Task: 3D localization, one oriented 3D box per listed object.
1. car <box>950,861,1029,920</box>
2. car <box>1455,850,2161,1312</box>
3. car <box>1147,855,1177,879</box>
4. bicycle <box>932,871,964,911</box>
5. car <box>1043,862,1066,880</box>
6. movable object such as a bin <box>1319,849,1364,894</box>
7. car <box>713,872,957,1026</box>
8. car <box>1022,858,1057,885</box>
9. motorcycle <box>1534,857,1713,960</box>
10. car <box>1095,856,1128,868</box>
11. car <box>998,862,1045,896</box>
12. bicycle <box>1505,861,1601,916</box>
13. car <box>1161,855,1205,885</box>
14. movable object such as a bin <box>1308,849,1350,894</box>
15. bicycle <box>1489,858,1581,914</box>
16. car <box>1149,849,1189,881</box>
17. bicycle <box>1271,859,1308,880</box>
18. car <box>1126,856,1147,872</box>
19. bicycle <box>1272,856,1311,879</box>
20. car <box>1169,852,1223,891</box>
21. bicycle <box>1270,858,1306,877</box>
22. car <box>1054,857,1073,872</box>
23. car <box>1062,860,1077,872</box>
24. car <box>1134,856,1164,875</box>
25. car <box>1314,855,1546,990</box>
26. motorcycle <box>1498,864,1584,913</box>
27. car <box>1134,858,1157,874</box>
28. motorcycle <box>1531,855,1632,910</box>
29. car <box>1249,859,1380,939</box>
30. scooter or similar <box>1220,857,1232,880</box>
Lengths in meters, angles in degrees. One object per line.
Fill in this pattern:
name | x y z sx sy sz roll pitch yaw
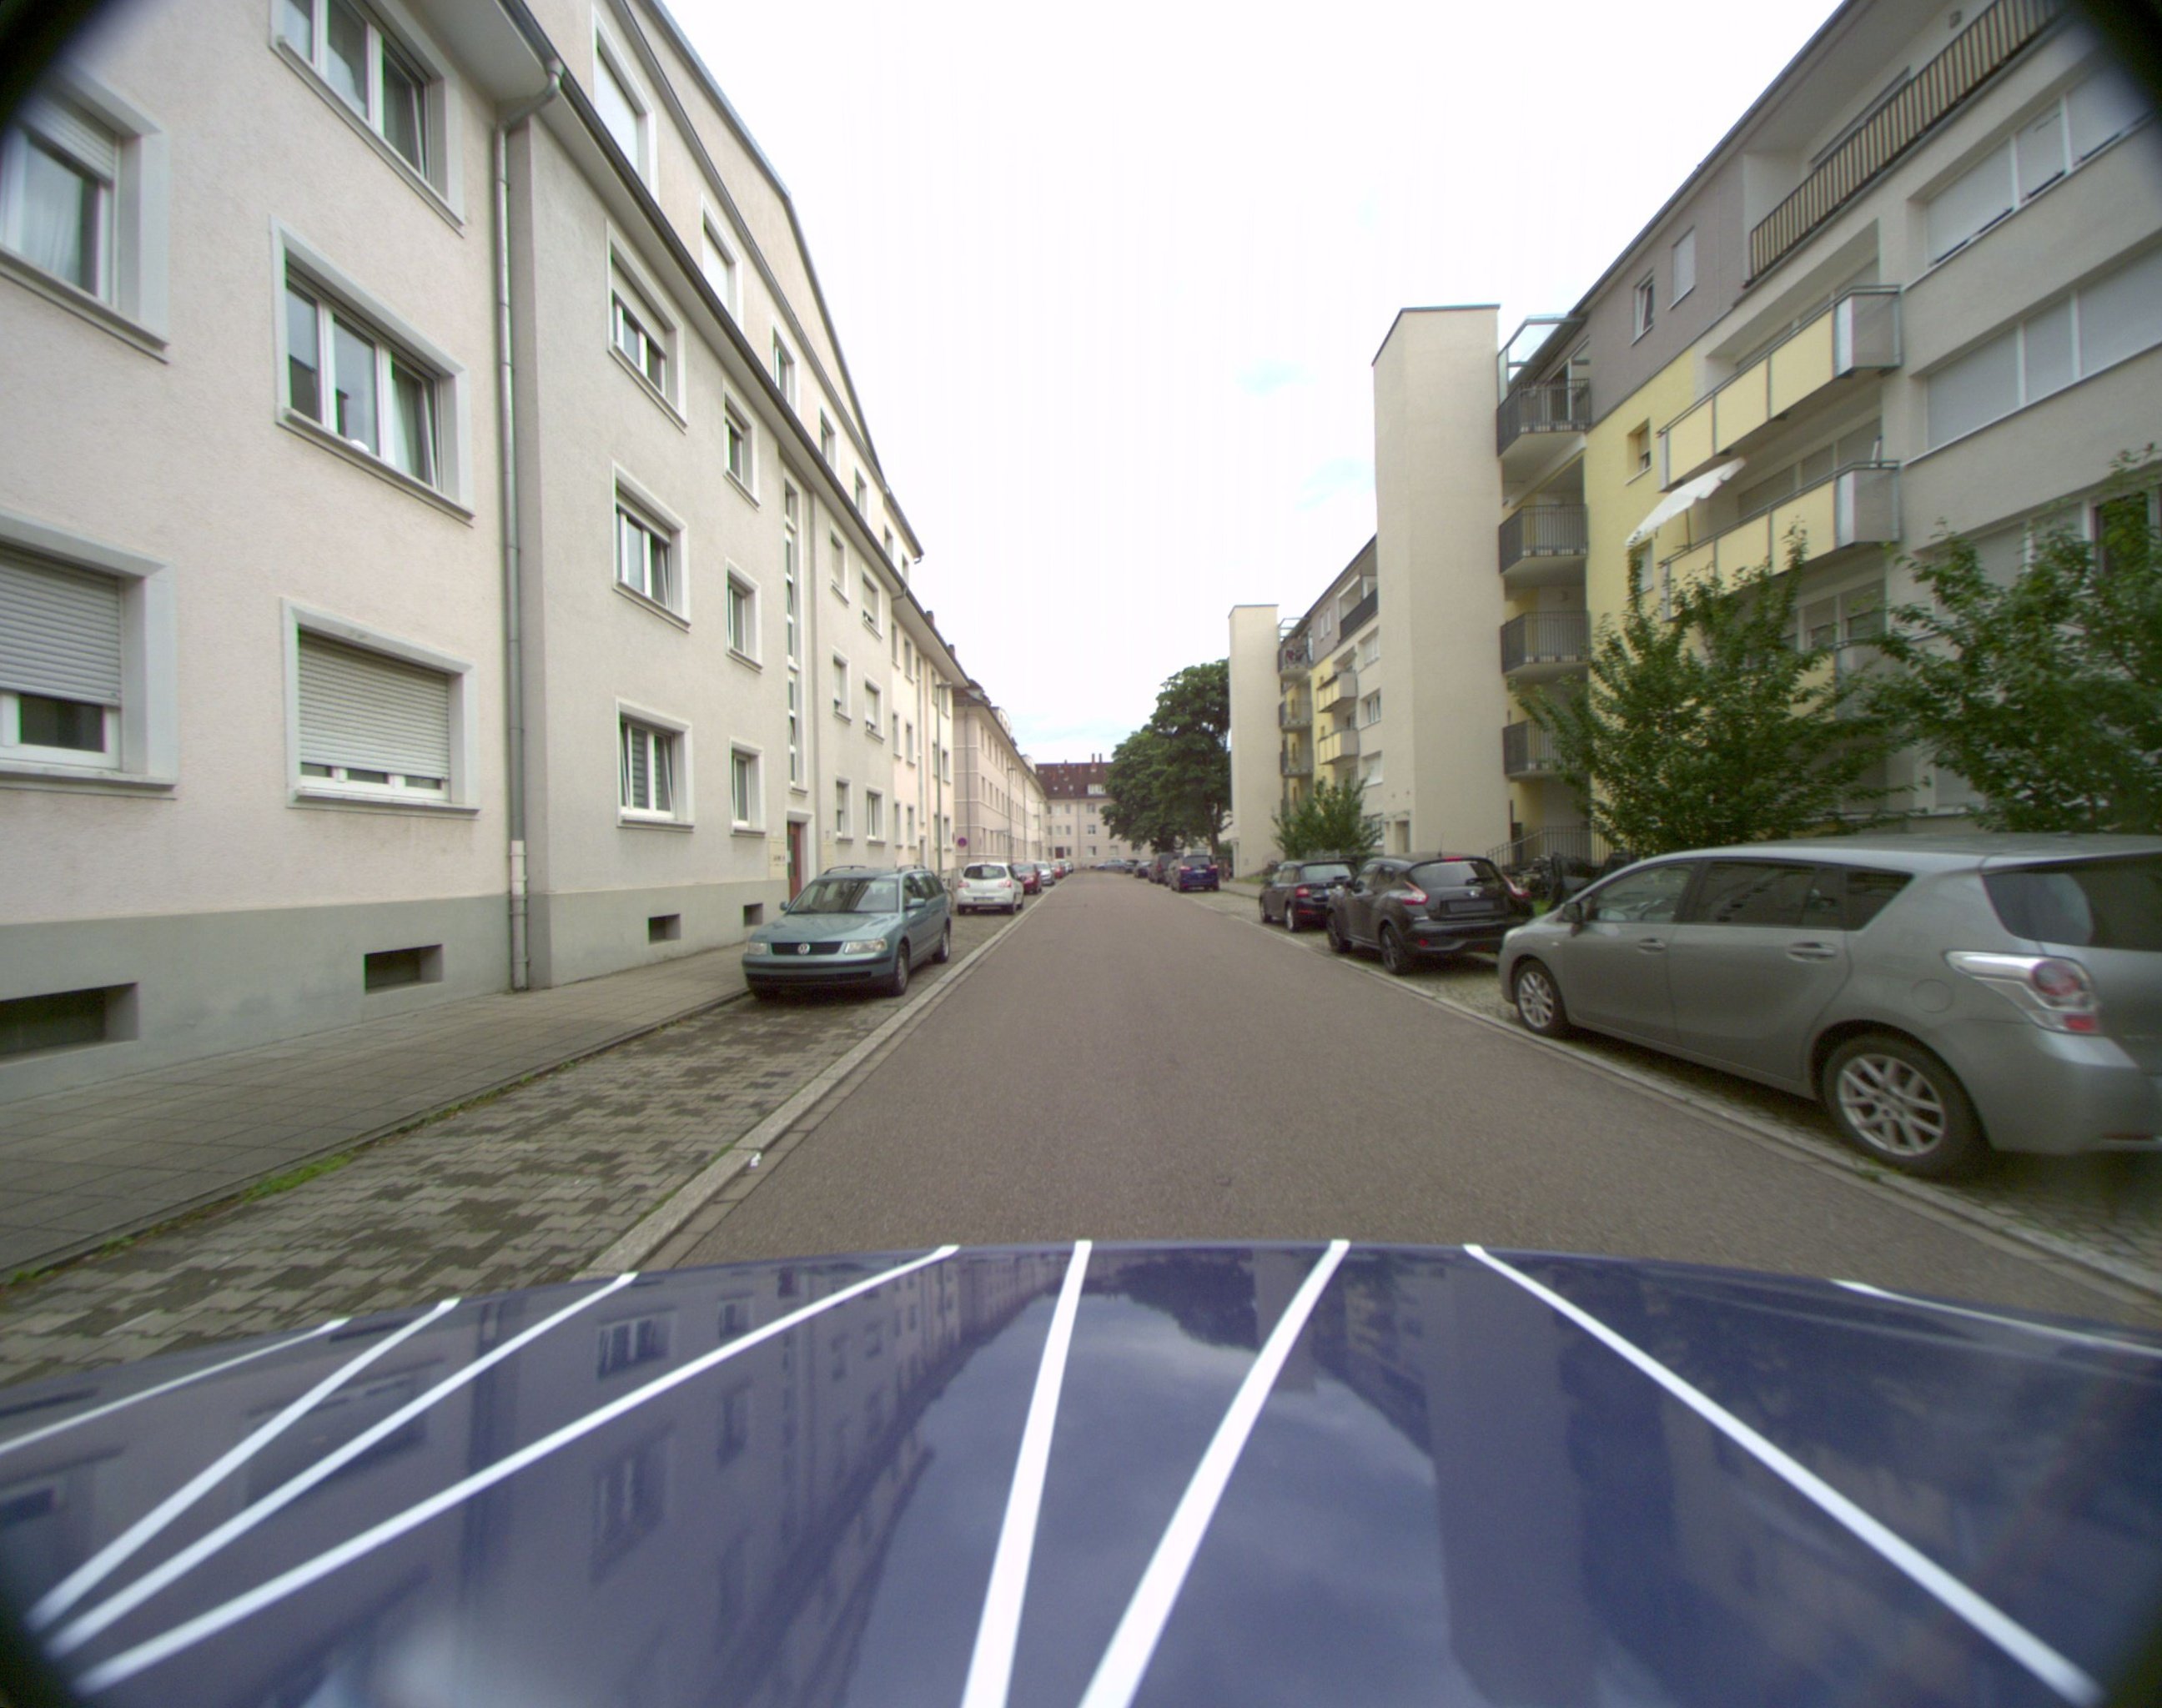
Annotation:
car | -2.639 1.021 22.728 1.788 1.590 3.805 -1 0 2
car | 4.674 0.814 5.026 1.839 1.561 4.861 -3 0 -2
car | 5.533 0.881 52.332 1.625 1.559 3.614 -1 0 -1
bicycle | -4.184 1.144 24.060 0.607 1.133 2.125 -1 0 0
car | -2.211 1.379 63.581 1.758 1.477 3.773 0 0 1
movable object such as a bin | 8.575 0.560 25.066 1.004 1.438 1.314 -2 0 1
car | -2.864 1.018 9.901 1.729 1.460 4.264 -1 0 0
car | -2.386 1.000 44.490 1.792 1.455 4.040 -1 0 1
motorcycle | 7.801 0.718 11.121 0.871 1.299 2.420 -3 0 1
car | 4.231 1.157 105.380 4.545 1.550 1.565 -1 0 5
car | -2.611 1.079 34.230 1.758 1.401 3.937 -1 0 1
bicycle | 10.200 0.739 16.453 1.727 1.135 0.609 -1 0 -4
car | 5.405 0.835 40.630 1.625 1.437 3.818 -2 0 -3
movable object such as a bin | 8.632 0.585 26.501 1.004 1.492 1.314 -2 0 1
bicycle | 10.203 0.702 17.093 1.727 1.218 0.609 -1 0 -4
car | 5.382 0.672 47.040 1.891 1.844 4.785 -1 0 0
bicycle | 11.354 0.854 41.482 1.855 1.130 0.717 -1 0 8
car | 5.938 1.095 82.069 2.000 1.566 4.210 -3 0 1
bicycle | 11.050 0.707 39.896 1.857 1.130 0.716 -1 0 -2
car | 5.158 0.757 34.696 1.804 1.617 4.472 -2 0 1
bicycle | 11.483 0.730 42.181 1.855 1.014 0.671 -1 0 8
car | -1.809 1.092 80.247 1.764 1.595 3.956 -1 0 1
car | -1.355 1.409 91.122 1.563 1.334 3.789 -1 0 1
car | 5.556 0.924 62.194 1.919 1.431 4.434 -3 0 -1
car | 4.750 0.821 10.986 1.657 1.521 3.895 -3 0 3
motorcycle | 10.782 0.803 17.844 1.619 1.122 0.690 0 0 -3
car | 5.693 1.048 67.559 1.765 1.257 4.210 -3 0 1
motorcycle | 10.405 0.583 15.815 1.753 1.122 0.594 0 0 -3
car | 4.940 0.879 16.593 1.647 1.430 3.856 -3 0 1
scooter or similar | 7.949 0.806 41.742 0.438 1.236 1.136 -1 0 1
